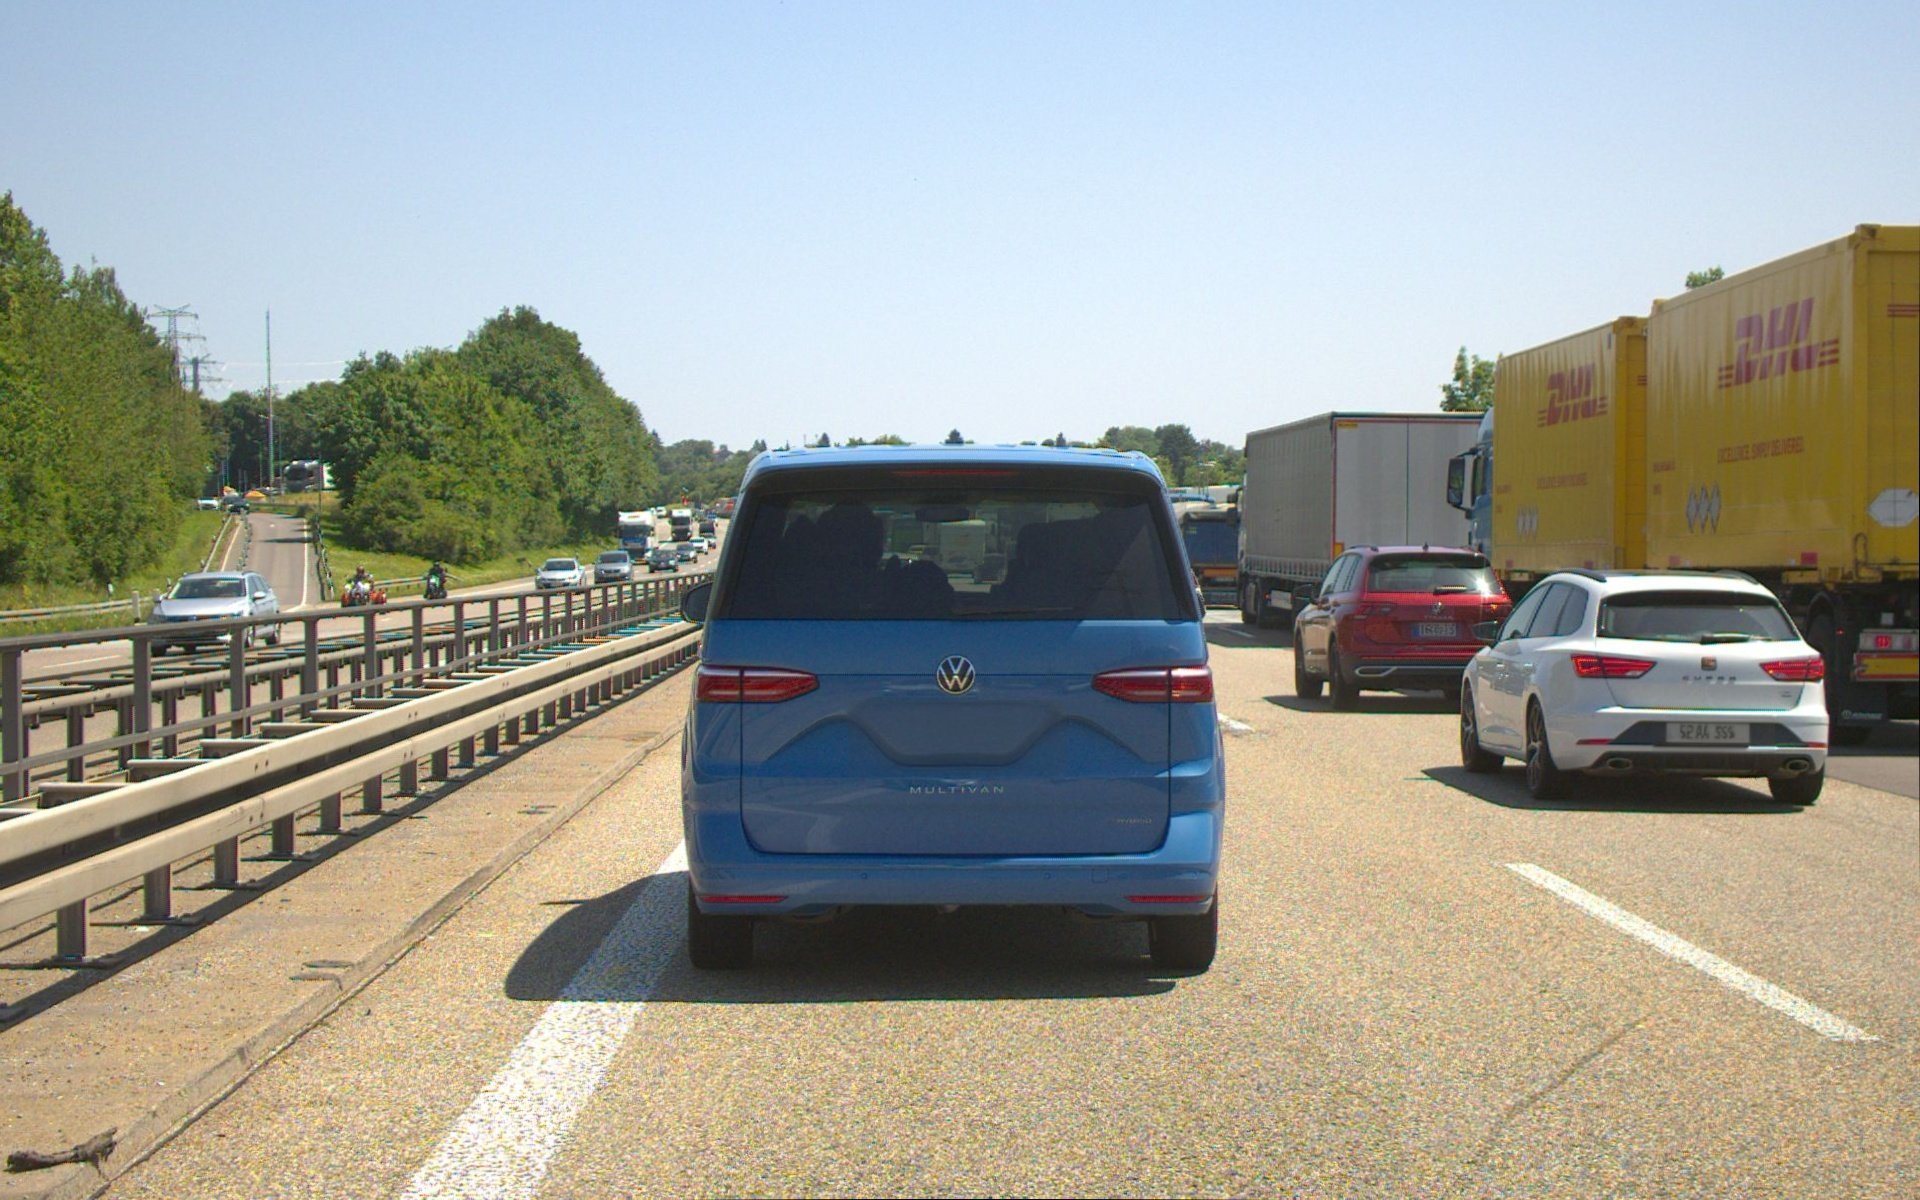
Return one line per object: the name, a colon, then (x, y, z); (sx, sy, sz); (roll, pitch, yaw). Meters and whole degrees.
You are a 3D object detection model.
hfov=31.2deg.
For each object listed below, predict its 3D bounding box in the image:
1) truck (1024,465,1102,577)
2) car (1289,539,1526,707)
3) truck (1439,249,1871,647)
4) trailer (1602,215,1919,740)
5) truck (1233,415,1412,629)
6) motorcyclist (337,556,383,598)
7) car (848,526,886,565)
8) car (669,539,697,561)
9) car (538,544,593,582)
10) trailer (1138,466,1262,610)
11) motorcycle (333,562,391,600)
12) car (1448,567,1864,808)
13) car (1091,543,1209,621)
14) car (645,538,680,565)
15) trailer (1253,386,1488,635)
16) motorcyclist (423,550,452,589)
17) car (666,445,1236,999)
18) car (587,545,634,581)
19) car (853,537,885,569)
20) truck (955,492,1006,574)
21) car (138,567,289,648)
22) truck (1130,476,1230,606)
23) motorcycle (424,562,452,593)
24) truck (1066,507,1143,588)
truck: (4.781, -3.619, 161.105); (2.833, 5.023, 11.147); (1, 0, -2)
car: (4.486, 0.194, 34.987); (1.851, 1.603, 4.000); (0, 1, -1)
truck: (7.844, -1.589, 40.404); (2.722, 4.041, 10.337); (1, 0, -1)
trailer: (8.053, -0.947, 30.763); (2.701, 4.010, 8.931); (1, 0, -1)
truck: (7.277, -1.524, 69.877); (2.768, 4.081, 6.984); (1, 0, -1)
motorcyclist: (-18.654, -0.719, 106.952); (1.186, 1.252, 1.119); (-3, 1, -1)
car: (-5.051, -2.959, 187.422); (1.993, 2.007, 4.000); (1, 0, -1)
car: (-20.717, -3.766, 257.451); (1.829, 1.604, 4.169); (-1, 1, -1)
car: (-15.717, -1.477, 136.994); (1.715, 1.429, 4.176); (-3, 1, -1)
trailer: (6.588, -1.660, 95.739); (2.379, 3.731, 11.189); (1, 0, -1)
motorcycle: (-18.641, -0.606, 107.263); (1.366, 1.095, 2.576); (-3, 1, -1)
car: (4.361, 0.494, 22.176); (1.781, 1.382, 4.188); (0, 1, -1)
car: (3.540, -0.362, 64.720); (1.838, 1.409, 4.000); (0, 1, -2)
car: (-18.415, -3.001, 213.159); (1.829, 1.604, 4.169); (-3, 1, -1)
trailer: (7.365, -1.537, 63.301); (2.755, 4.132, 11.312); (1, 0, -1)
motorcyclist: (-19.674, -1.156, 129.517); (0.898, 1.436, 1.082); (-1, 2, -1)
car: (-0.055, 0.374, 13.359); (1.882, 1.831, 4.000); (0, 1, -1)
car: (-16.788, -1.775, 165.484); (1.829, 1.604, 4.169); (-4, 1, -1)
car: (-5.863, -3.052, 222.152); (1.993, 2.007, 4.000); (1, 0, -1)
truck: (1.331, -4.503, 233.711); (2.833, 5.354, 12.556); (1, 0, -2)
car: (-13.796, 0.118, 63.714); (1.910, 1.389, 4.165); (-2, 0, -1)
truck: (6.450, -1.710, 101.524); (2.367, 3.709, 6.034); (1, 0, -1)
motorcycle: (-19.650, -0.853, 129.480); (0.702, 1.067, 2.306); (-1, 2, -1)
truck: (5.938, -2.135, 142.794); (2.355, 3.207, 9.742); (1, 0, -2)
